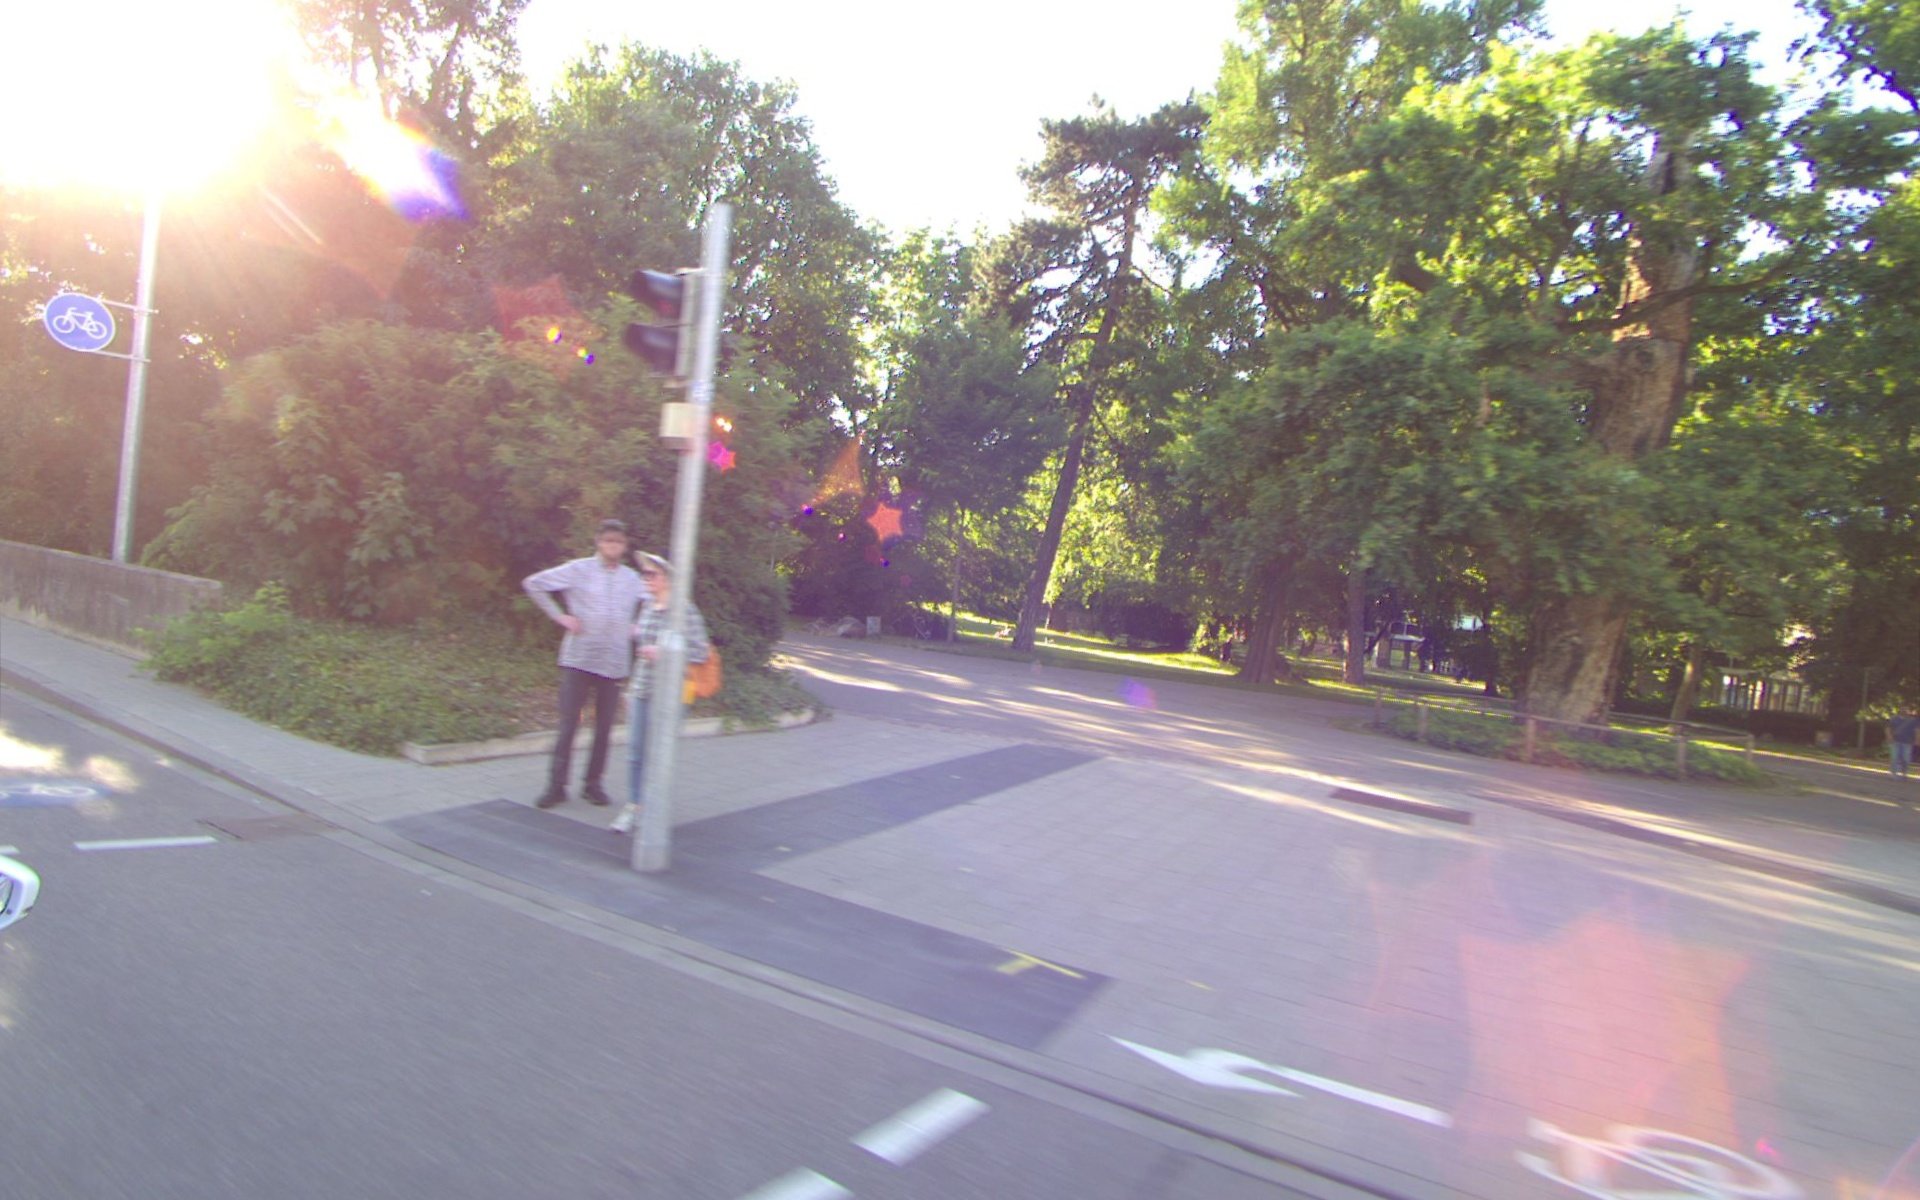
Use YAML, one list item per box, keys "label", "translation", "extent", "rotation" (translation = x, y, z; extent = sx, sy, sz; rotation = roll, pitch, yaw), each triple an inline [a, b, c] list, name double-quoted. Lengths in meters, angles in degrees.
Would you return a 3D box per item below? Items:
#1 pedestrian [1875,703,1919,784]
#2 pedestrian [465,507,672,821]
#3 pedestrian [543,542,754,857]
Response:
- label: "pedestrian"
  translation: [22.195, 3.357, 23.691]
  extent: [0.774, 1.753, 0.802]
  rotation: [8, 3, 43]
- label: "pedestrian"
  translation: [-2.492, 0.385, 6.513]
  extent: [0.891, 1.826, 0.858]
  rotation: [5, 3, -3]
- label: "pedestrian"
  translation: [-1.816, 0.540, 5.927]
  extent: [0.756, 1.658, 0.767]
  rotation: [7, 3, 22]
